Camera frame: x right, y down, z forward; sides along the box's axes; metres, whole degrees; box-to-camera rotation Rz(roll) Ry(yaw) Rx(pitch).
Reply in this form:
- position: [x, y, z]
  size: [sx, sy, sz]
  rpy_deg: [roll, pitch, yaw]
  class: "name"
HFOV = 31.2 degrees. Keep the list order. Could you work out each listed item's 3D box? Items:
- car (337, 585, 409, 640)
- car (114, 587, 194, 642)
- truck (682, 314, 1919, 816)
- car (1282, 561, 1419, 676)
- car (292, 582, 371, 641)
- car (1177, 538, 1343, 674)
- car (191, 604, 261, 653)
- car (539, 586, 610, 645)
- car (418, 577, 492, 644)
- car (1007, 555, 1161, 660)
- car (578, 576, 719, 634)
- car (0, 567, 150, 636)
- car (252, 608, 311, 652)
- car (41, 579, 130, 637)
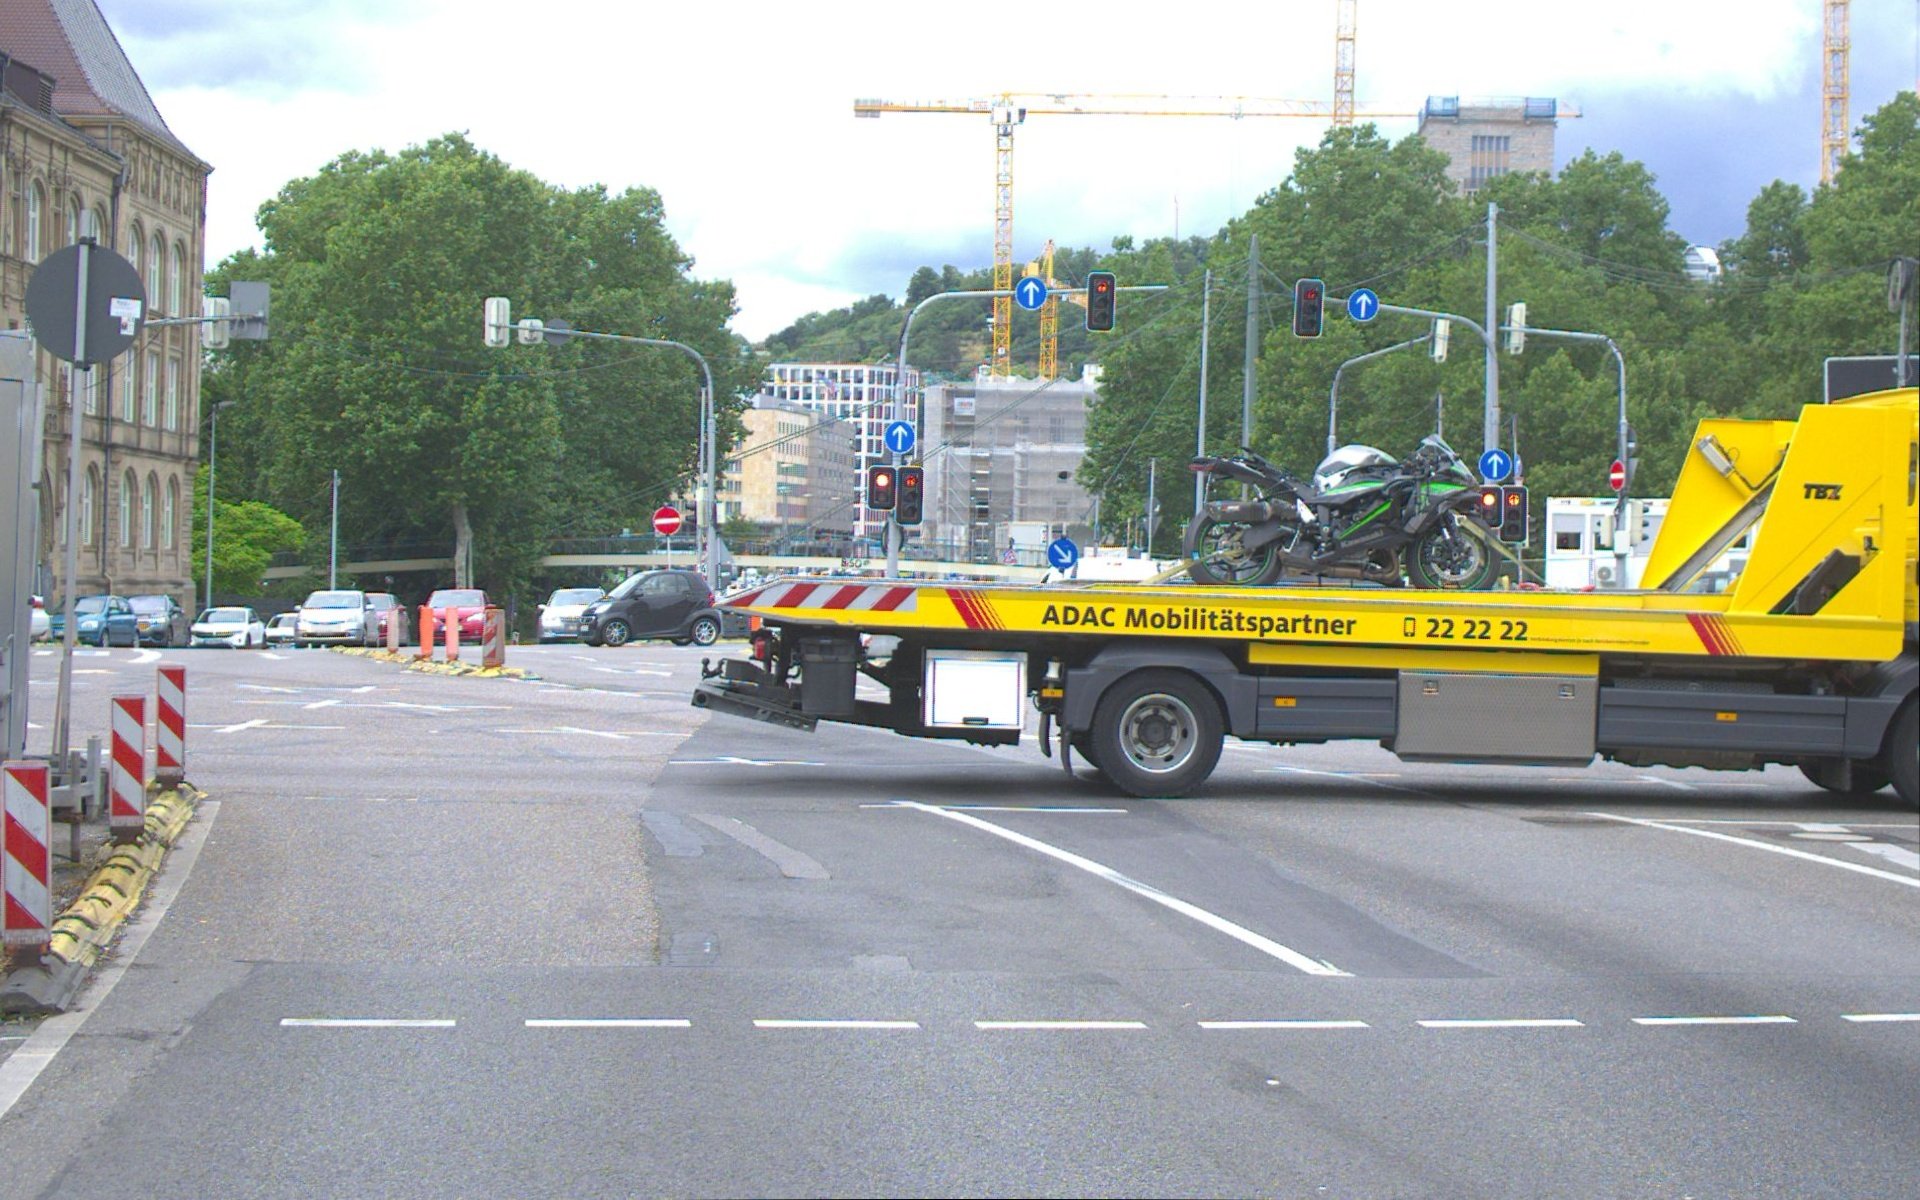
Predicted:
- position: [-15.648, 0.312, 91.808]
  size: [1.675, 1.393, 3.684]
  rpy_deg: [1, 1, -7]
  class: "car"
- position: [-21.758, 0.382, 92.937]
  size: [1.675, 1.393, 3.684]
  rpy_deg: [1, 1, -7]
  class: "car"
- position: [2.837, -0.202, 21.491]
  size: [8.980, 2.794, 2.627]
  rpy_deg: [1, 1, -3]
  class: "truck"
- position: [5.998, 0.261, 53.062]
  size: [1.676, 1.696, 3.374]
  rpy_deg: [1, 1, -1]
  class: "car"
- position: [-15.629, 0.274, 85.646]
  size: [1.675, 1.393, 3.684]
  rpy_deg: [1, 1, -7]
  class: "car"
- position: [4.012, 0.054, 46.495]
  size: [1.832, 1.740, 4.000]
  rpy_deg: [1, 1, -1]
  class: "car"
- position: [-22.018, 0.849, 103.216]
  size: [1.675, 1.393, 3.684]
  rpy_deg: [1, 1, -7]
  class: "car"
- position: [-9.540, 0.365, 85.021]
  size: [1.675, 1.393, 3.684]
  rpy_deg: [1, 1, -7]
  class: "car"
- position: [-12.434, 0.237, 84.736]
  size: [1.675, 1.575, 3.684]
  rpy_deg: [1, 1, -7]
  class: "car"
- position: [1.963, 0.093, 55.543]
  size: [1.816, 1.619, 4.001]
  rpy_deg: [1, 1, -8]
  class: "car"
- position: [-6.292, 0.098, 69.298]
  size: [2.688, 1.138, 1.358]
  rpy_deg: [1, 0, -11]
  class: "car"
- position: [-17.181, 0.022, 64.922]
  size: [3.605, 1.250, 1.682]
  rpy_deg: [1, 1, -12]
  class: "car"
- position: [-22.941, 1.005, 116.292]
  size: [1.675, 1.393, 3.684]
  rpy_deg: [1, 1, -7]
  class: "car"
- position: [-21.978, 0.177, 86.505]
  size: [1.675, 1.393, 3.684]
  rpy_deg: [1, 1, -7]
  class: "car"
